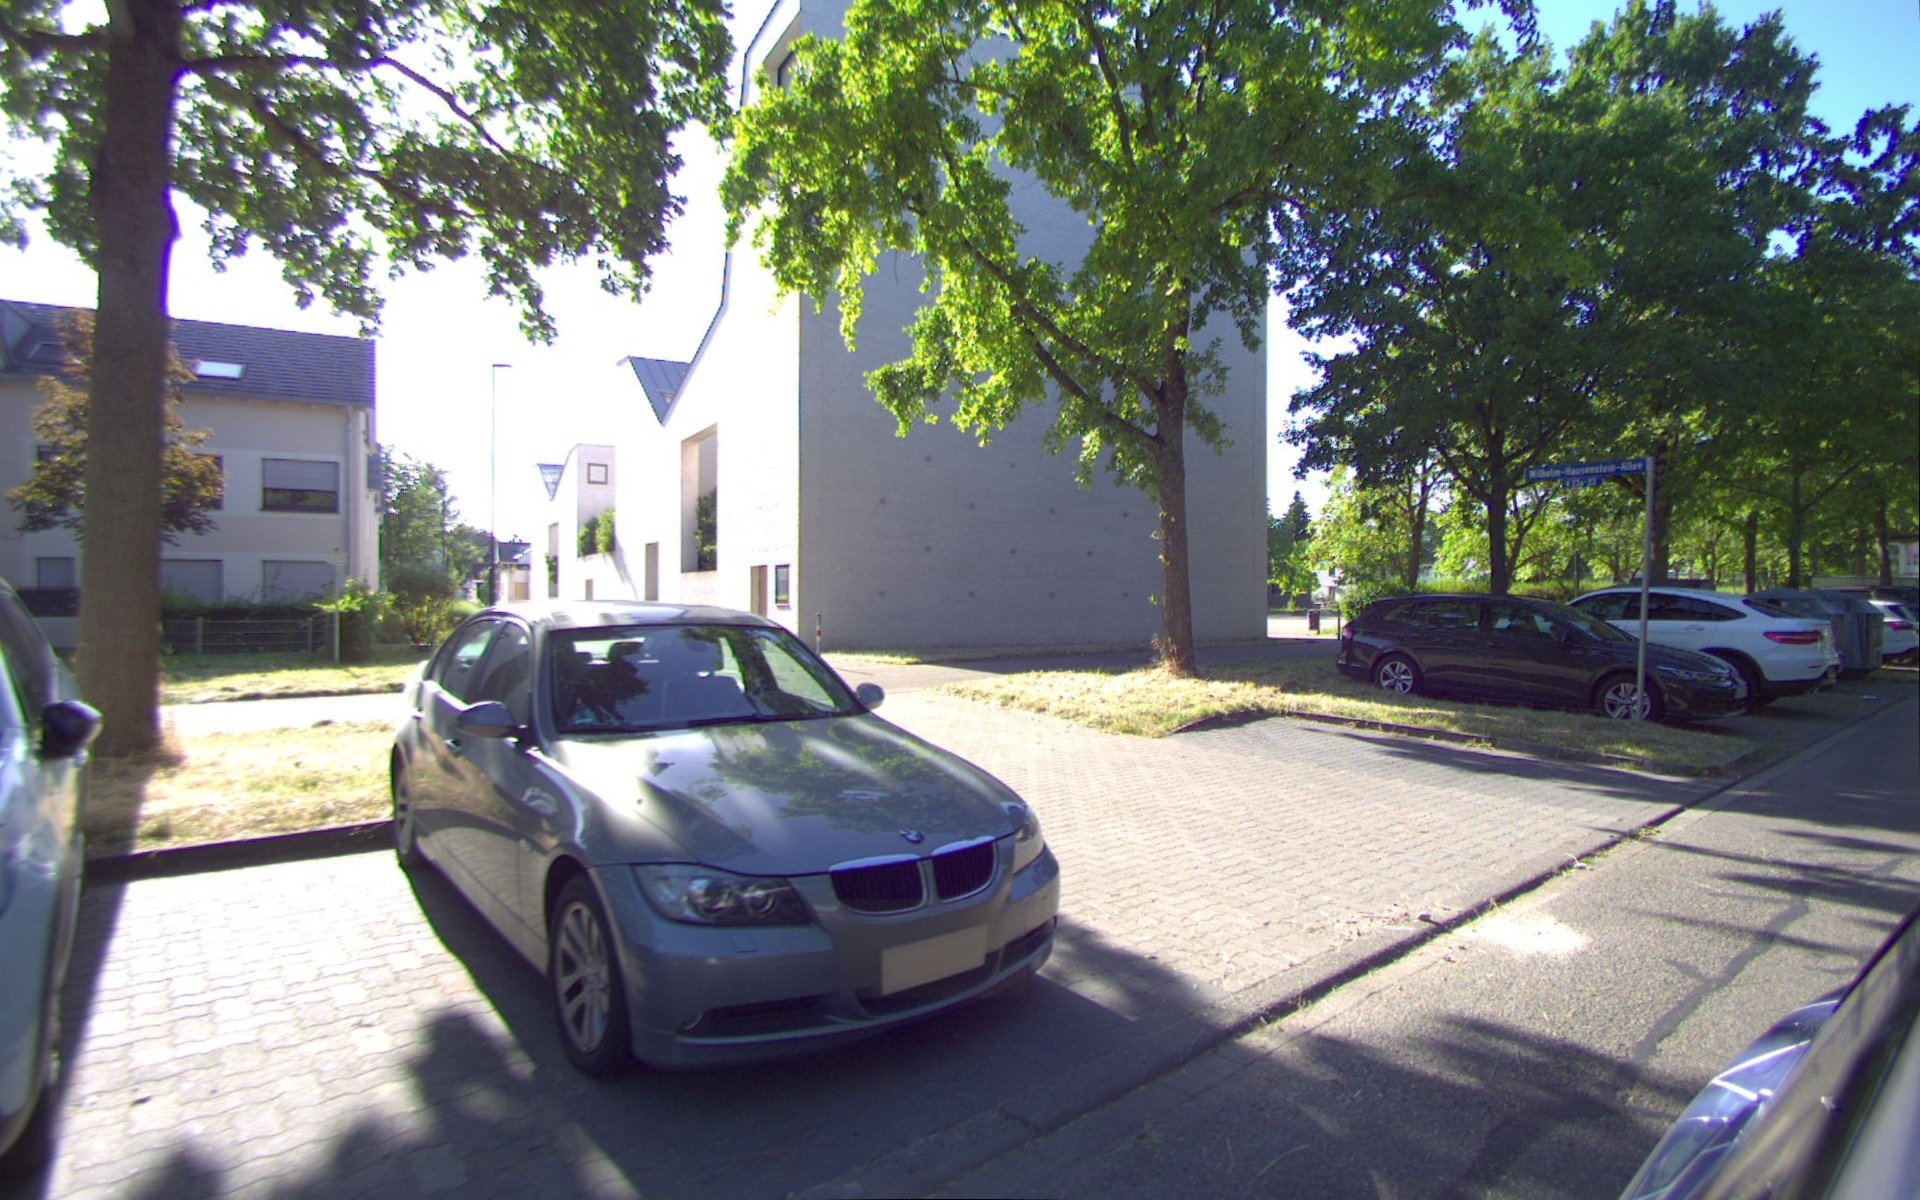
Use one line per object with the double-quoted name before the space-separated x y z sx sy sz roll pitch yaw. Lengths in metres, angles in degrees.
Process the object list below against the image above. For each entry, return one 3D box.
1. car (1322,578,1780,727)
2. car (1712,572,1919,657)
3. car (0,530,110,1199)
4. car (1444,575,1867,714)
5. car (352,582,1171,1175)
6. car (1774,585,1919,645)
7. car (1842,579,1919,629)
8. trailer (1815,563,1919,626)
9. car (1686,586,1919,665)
"car" 7.271 0.508 12.904 1.883 1.473 4.680 0 2 -41
"car" 20.543 0.285 23.564 1.902 1.823 4.540 0 2 -40
"car" -3.619 0.560 2.922 1.746 1.516 3.892 0 2 -41
"car" 9.754 0.487 14.561 1.882 1.600 4.681 0 2 -39
"car" -1.379 0.643 4.771 1.877 1.407 4.454 0 1 -40
"car" 25.415 0.381 27.941 2.040 1.538 4.256 0 2 -39
"car" 34.970 0.153 36.364 1.952 1.743 4.653 0 2 -39
"trailer" 36.620 -0.194 38.680 1.655 2.346 5.791 0 2 -38
"car" 18.664 0.488 22.104 1.767 1.490 4.232 0 2 -38
